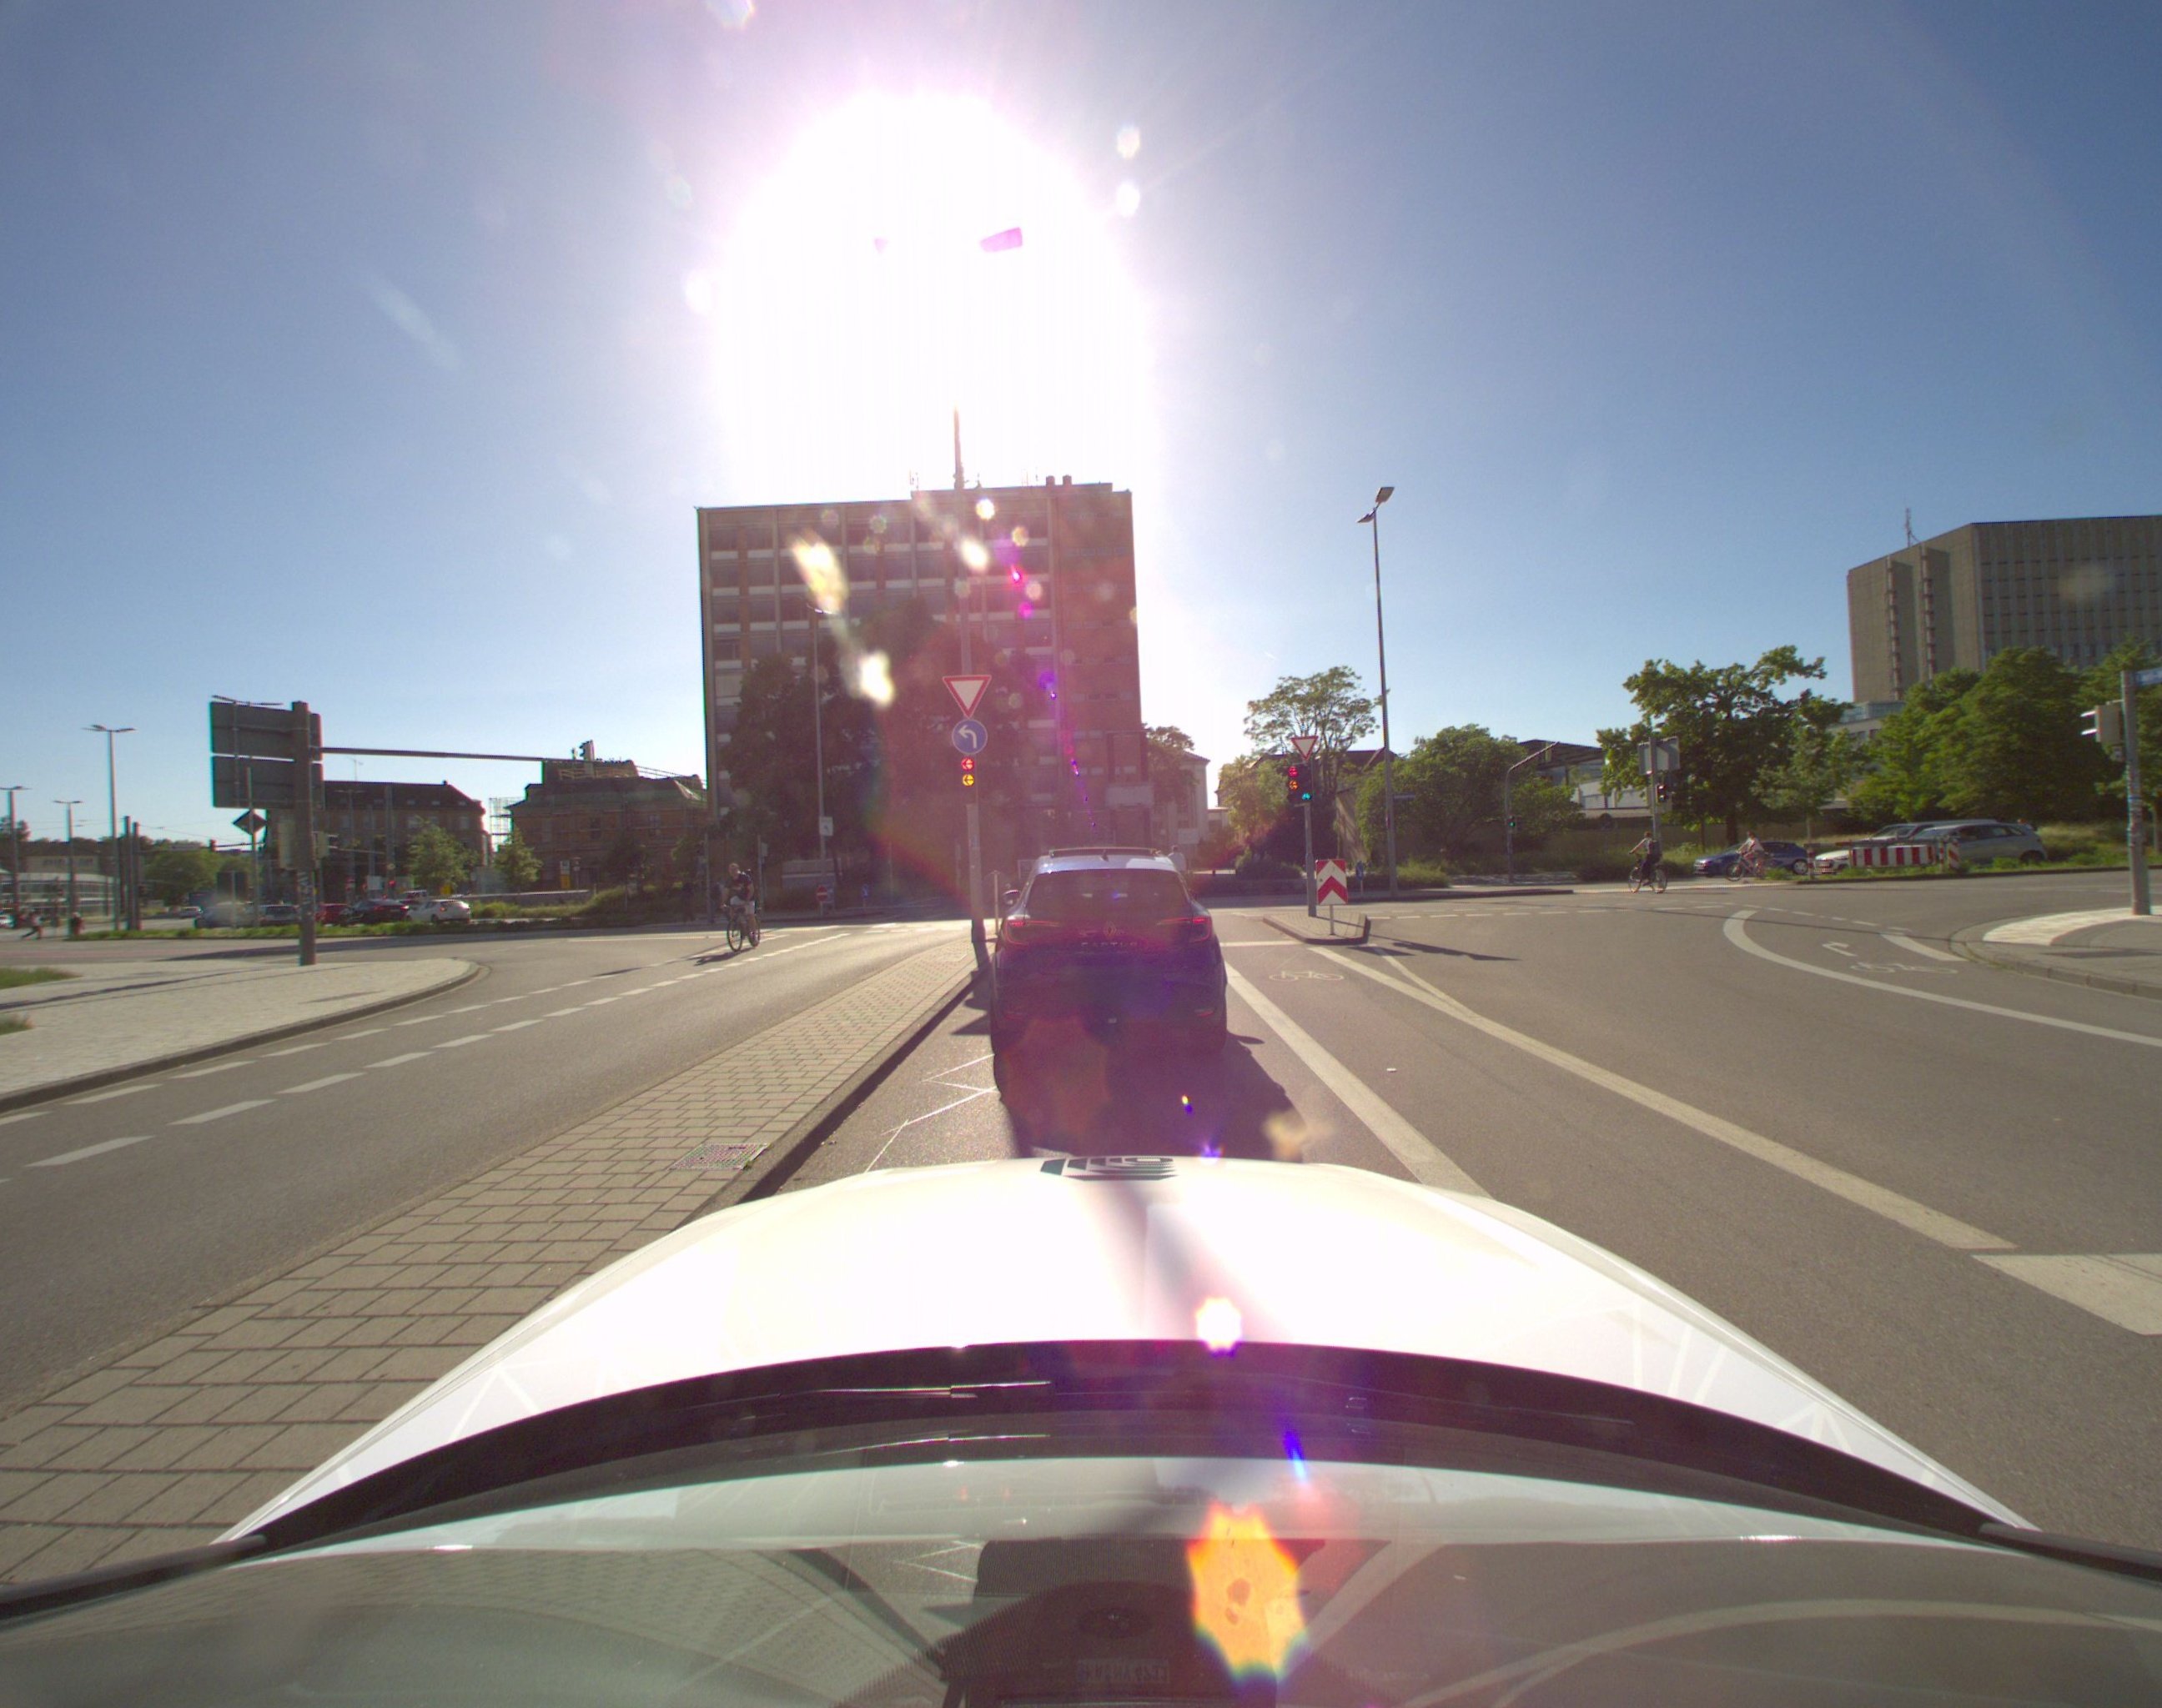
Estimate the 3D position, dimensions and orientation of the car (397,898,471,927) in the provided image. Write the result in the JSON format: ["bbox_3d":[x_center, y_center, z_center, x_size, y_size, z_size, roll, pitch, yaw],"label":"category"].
[{"bbox_3d":[-36.435,3.303,45.867,3.691,1.436,1.706,-3,-1,24],"label":"car"}]

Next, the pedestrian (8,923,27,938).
[{"bbox_3d":[-101.850,7.311,78.005,0.689,1.408,0.865,0,-1,0],"label":"pedestrian"}]

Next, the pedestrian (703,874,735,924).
[{"bbox_3d":[-13.908,1.715,31.297,0.753,1.833,1.093,-2,-2,-6],"label":"pedestrian"}]

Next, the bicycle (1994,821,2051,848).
[{"bbox_3d":[45.617,-0.941,39.456,1.943,1.165,0.643,-4,2,2],"label":"bicycle"}]

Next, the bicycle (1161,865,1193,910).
[{"bbox_3d":[2.677,0.923,22.879,0.713,1.165,1.871,-2,0,2],"label":"bicycle"}]

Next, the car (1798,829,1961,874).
[{"bbox_3d":[30.306,-0.090,31.033,3.962,1.469,2.005,-3,-1,10],"label":"car"}]

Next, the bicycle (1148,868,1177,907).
[{"bbox_3d":[2.596,1.059,26.159,0.743,1.165,1.871,-2,0,2],"label":"bicycle"}]

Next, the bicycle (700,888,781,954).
[{"bbox_3d":[-6.929,1.331,16.689,0.743,1.165,1.871,-4,-1,2],"label":"bicycle"}]

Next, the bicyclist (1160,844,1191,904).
[{"bbox_3d":[2.661,0.545,22.901,0.717,1.617,0.978,-2,-1,1],"label":"bicyclist"}]

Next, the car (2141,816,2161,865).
[{"bbox_3d":[36.874,-0.552,25.385,4.685,1.554,1.987,-2,-2,5],"label":"car"}]

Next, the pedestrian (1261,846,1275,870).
[{"bbox_3d":[12.913,0.253,56.297,0.669,1.643,0.740,-1,-1,41],"label":"pedestrian"}]

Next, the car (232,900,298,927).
[{"bbox_3d":[-48.901,3.586,48.802,3.750,1.442,1.741,-3,-1,28],"label":"car"}]

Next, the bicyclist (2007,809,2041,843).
[{"bbox_3d":[45.663,-1.349,39.441,0.826,1.595,0.632,-4,2,3],"label":"bicyclist"}]

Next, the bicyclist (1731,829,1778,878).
[{"bbox_3d":[24.014,-0.016,29.048,0.970,1.685,0.747,-4,-1,3],"label":"bicyclist"}]

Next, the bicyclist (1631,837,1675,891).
[{"bbox_3d":[15.711,0.260,22.382,0.638,1.444,0.777,-3,1,4],"label":"bicyclist"}]

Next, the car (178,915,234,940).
[{"bbox_3d":[-55.217,4.648,51.368,3.859,1.443,1.741,-3,-3,33],"label":"car"}]

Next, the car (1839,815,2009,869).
[{"bbox_3d":[34.827,-0.451,33.762,4.718,1.953,1.942,-2,-2,5],"label":"car"}]

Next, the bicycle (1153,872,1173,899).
[{"bbox_3d":[3.725,1.419,37.126,0.743,1.165,1.871,-2,0,2],"label":"bicycle"}]

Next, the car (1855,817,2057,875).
[{"bbox_3d":[28.024,-0.208,26.203,4.281,1.625,1.792,-2,-2,5],"label":"car"}]

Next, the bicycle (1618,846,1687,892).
[{"bbox_3d":[15.725,0.393,22.467,0.638,1.165,1.872,-3,1,4],"label":"bicycle"}]

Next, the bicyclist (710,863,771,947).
[{"bbox_3d":[-6.953,1.024,16.653,0.717,1.621,0.978,-4,-1,1],"label":"bicyclist"}]

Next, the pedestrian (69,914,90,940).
[{"bbox_3d":[-63.042,4.609,51.278,0.565,1.611,0.573,0,-1,1],"label":"pedestrian"}]

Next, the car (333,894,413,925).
[{"bbox_3d":[-42.637,3.334,49.045,4.324,1.624,2.002,-3,-1,24],"label":"car"}]

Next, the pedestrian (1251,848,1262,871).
[{"bbox_3d":[12.888,0.410,59.774,0.670,1.643,0.739,-2,-1,16],"label":"pedestrian"}]

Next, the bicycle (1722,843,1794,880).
[{"bbox_3d":[24.128,0.265,29.041,1.856,1.165,0.749,-4,-1,3],"label":"bicycle"}]

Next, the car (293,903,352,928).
[{"bbox_3d":[-48.062,3.891,51.593,3.674,1.443,1.687,-3,-3,29],"label":"car"}]

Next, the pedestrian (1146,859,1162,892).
[{"bbox_3d":[4.005,1.176,44.564,0.727,1.782,0.735,-1,-1,19],"label":"pedestrian"}]

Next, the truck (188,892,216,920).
[{"bbox_3d":[-124.831,7.309,115.618,5.159,3.675,2.618,-1,-1,42],"label":"truck"}]

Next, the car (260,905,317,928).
[{"bbox_3d":[-53.469,4.216,54.944,3.750,1.443,1.741,-3,-3,29],"label":"car"}]

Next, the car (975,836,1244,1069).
[{"bbox_3d":[0.255,0.699,7.585,1.870,1.617,3.799,0,0,2],"label":"car"}]

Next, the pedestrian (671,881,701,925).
[{"bbox_3d":[-15.188,1.879,31.312,0.711,1.612,0.685,-3,-1,18],"label":"pedestrian"}]

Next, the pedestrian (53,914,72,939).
[{"bbox_3d":[-66.946,4.770,53.544,0.668,1.611,0.659,-1,-1,27],"label":"pedestrian"}]

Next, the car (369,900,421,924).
[{"bbox_3d":[-50.397,4.283,59.836,3.578,1.618,1.894,-4,-3,31],"label":"car"}]

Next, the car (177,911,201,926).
[{"bbox_3d":[-105.595,7.600,96.393,3.594,1.544,1.797,-1,-1,44],"label":"car"}]

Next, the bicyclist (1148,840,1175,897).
[{"bbox_3d":[2.574,0.467,26.152,0.717,1.763,0.978,-2,-1,1],"label":"bicyclist"}]

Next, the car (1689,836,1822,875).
[{"bbox_3d":[28.168,0.077,34.122,3.967,1.442,1.707,-2,-2,5],"label":"car"}]

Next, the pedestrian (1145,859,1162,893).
[{"bbox_3d":[3.888,1.158,43.585,0.727,1.816,0.735,-1,-1,19],"label":"pedestrian"}]
